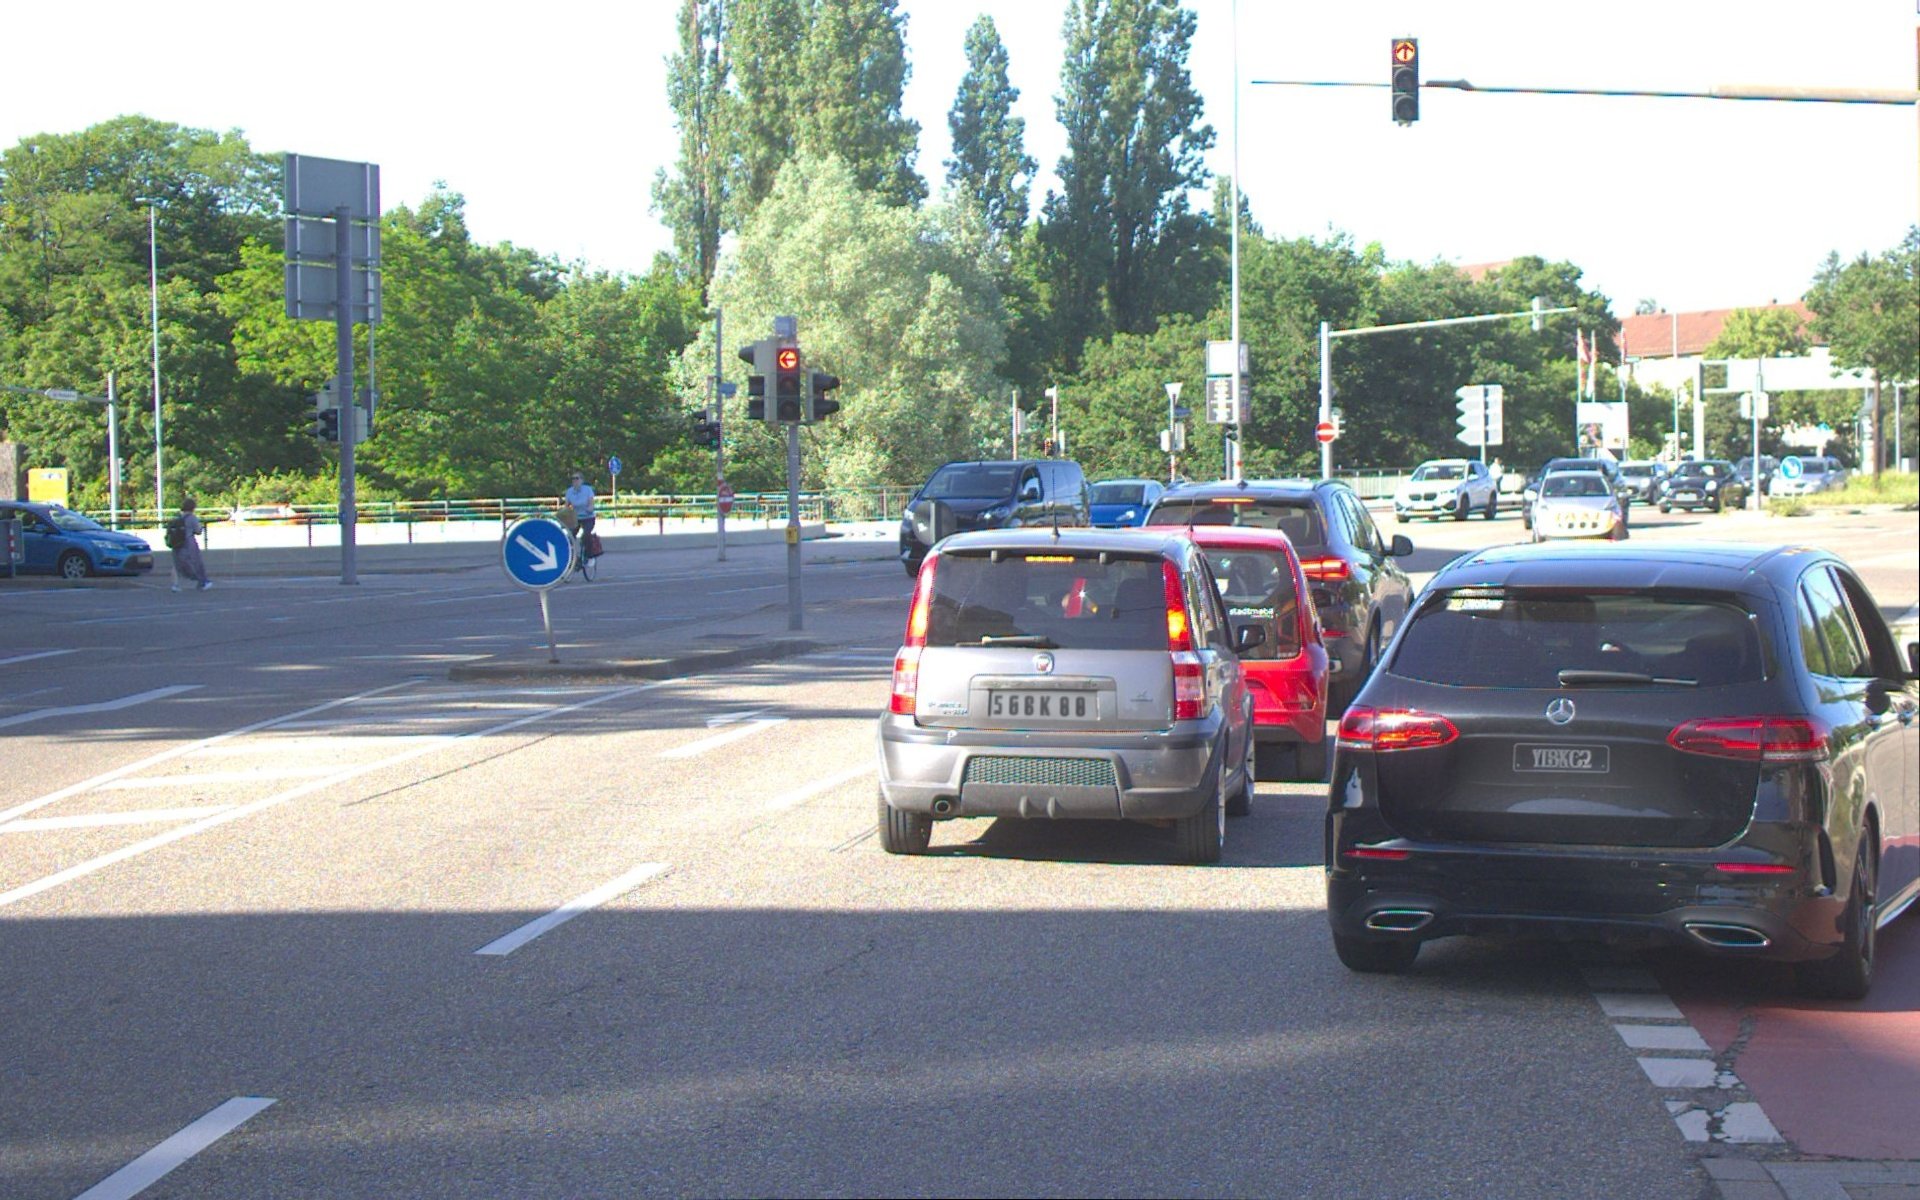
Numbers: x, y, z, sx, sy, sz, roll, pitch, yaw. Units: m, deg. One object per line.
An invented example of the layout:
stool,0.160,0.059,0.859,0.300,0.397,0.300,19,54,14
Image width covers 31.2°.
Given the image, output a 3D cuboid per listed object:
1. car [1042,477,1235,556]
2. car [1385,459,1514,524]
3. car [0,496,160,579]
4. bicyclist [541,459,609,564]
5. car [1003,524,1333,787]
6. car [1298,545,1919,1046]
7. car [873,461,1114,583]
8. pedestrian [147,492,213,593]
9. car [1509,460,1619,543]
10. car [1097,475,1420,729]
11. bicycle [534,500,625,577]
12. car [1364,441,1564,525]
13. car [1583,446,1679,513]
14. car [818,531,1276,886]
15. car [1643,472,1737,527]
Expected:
car,3.677,-1.722,70.177,1.824,1.498,4.442,0,2,35
car,13.034,-2.904,91.325,1.836,1.647,4.621,0,2,29
car,-17.013,-1.128,62.748,4.441,1.433,1.824,0,2,23
bicyclist,-6.365,-1.479,56.883,0.687,1.695,1.197,0,3,15
car,1.396,0.270,21.604,1.820,1.474,3.999,0,2,7
car,2.602,0.563,12.681,1.752,1.488,3.996,1,2,20
car,0.618,-1.326,56.985,1.996,1.928,4.845,0,2,28
pedestrian,-12.594,-0.919,55.514,0.686,1.533,1.366,1,-3,2
car,12.189,-2.001,69.224,1.821,1.577,4.101,-1,2,15
car,2.433,-0.067,26.994,1.870,1.784,4.412,1,2,13
bicycle,-6.307,-1.033,57.091,0.687,1.198,2.326,0,3,15
car,11.959,-2.756,81.771,4.357,1.829,1.995,0,0,45
car,16.280,-2.928,83.293,1.725,1.577,4.000,0,2,19
car,0.558,0.435,17.185,1.820,1.484,3.999,1,2,8
car,20.084,-2.779,94.500,1.995,1.448,3.997,0,2,20
